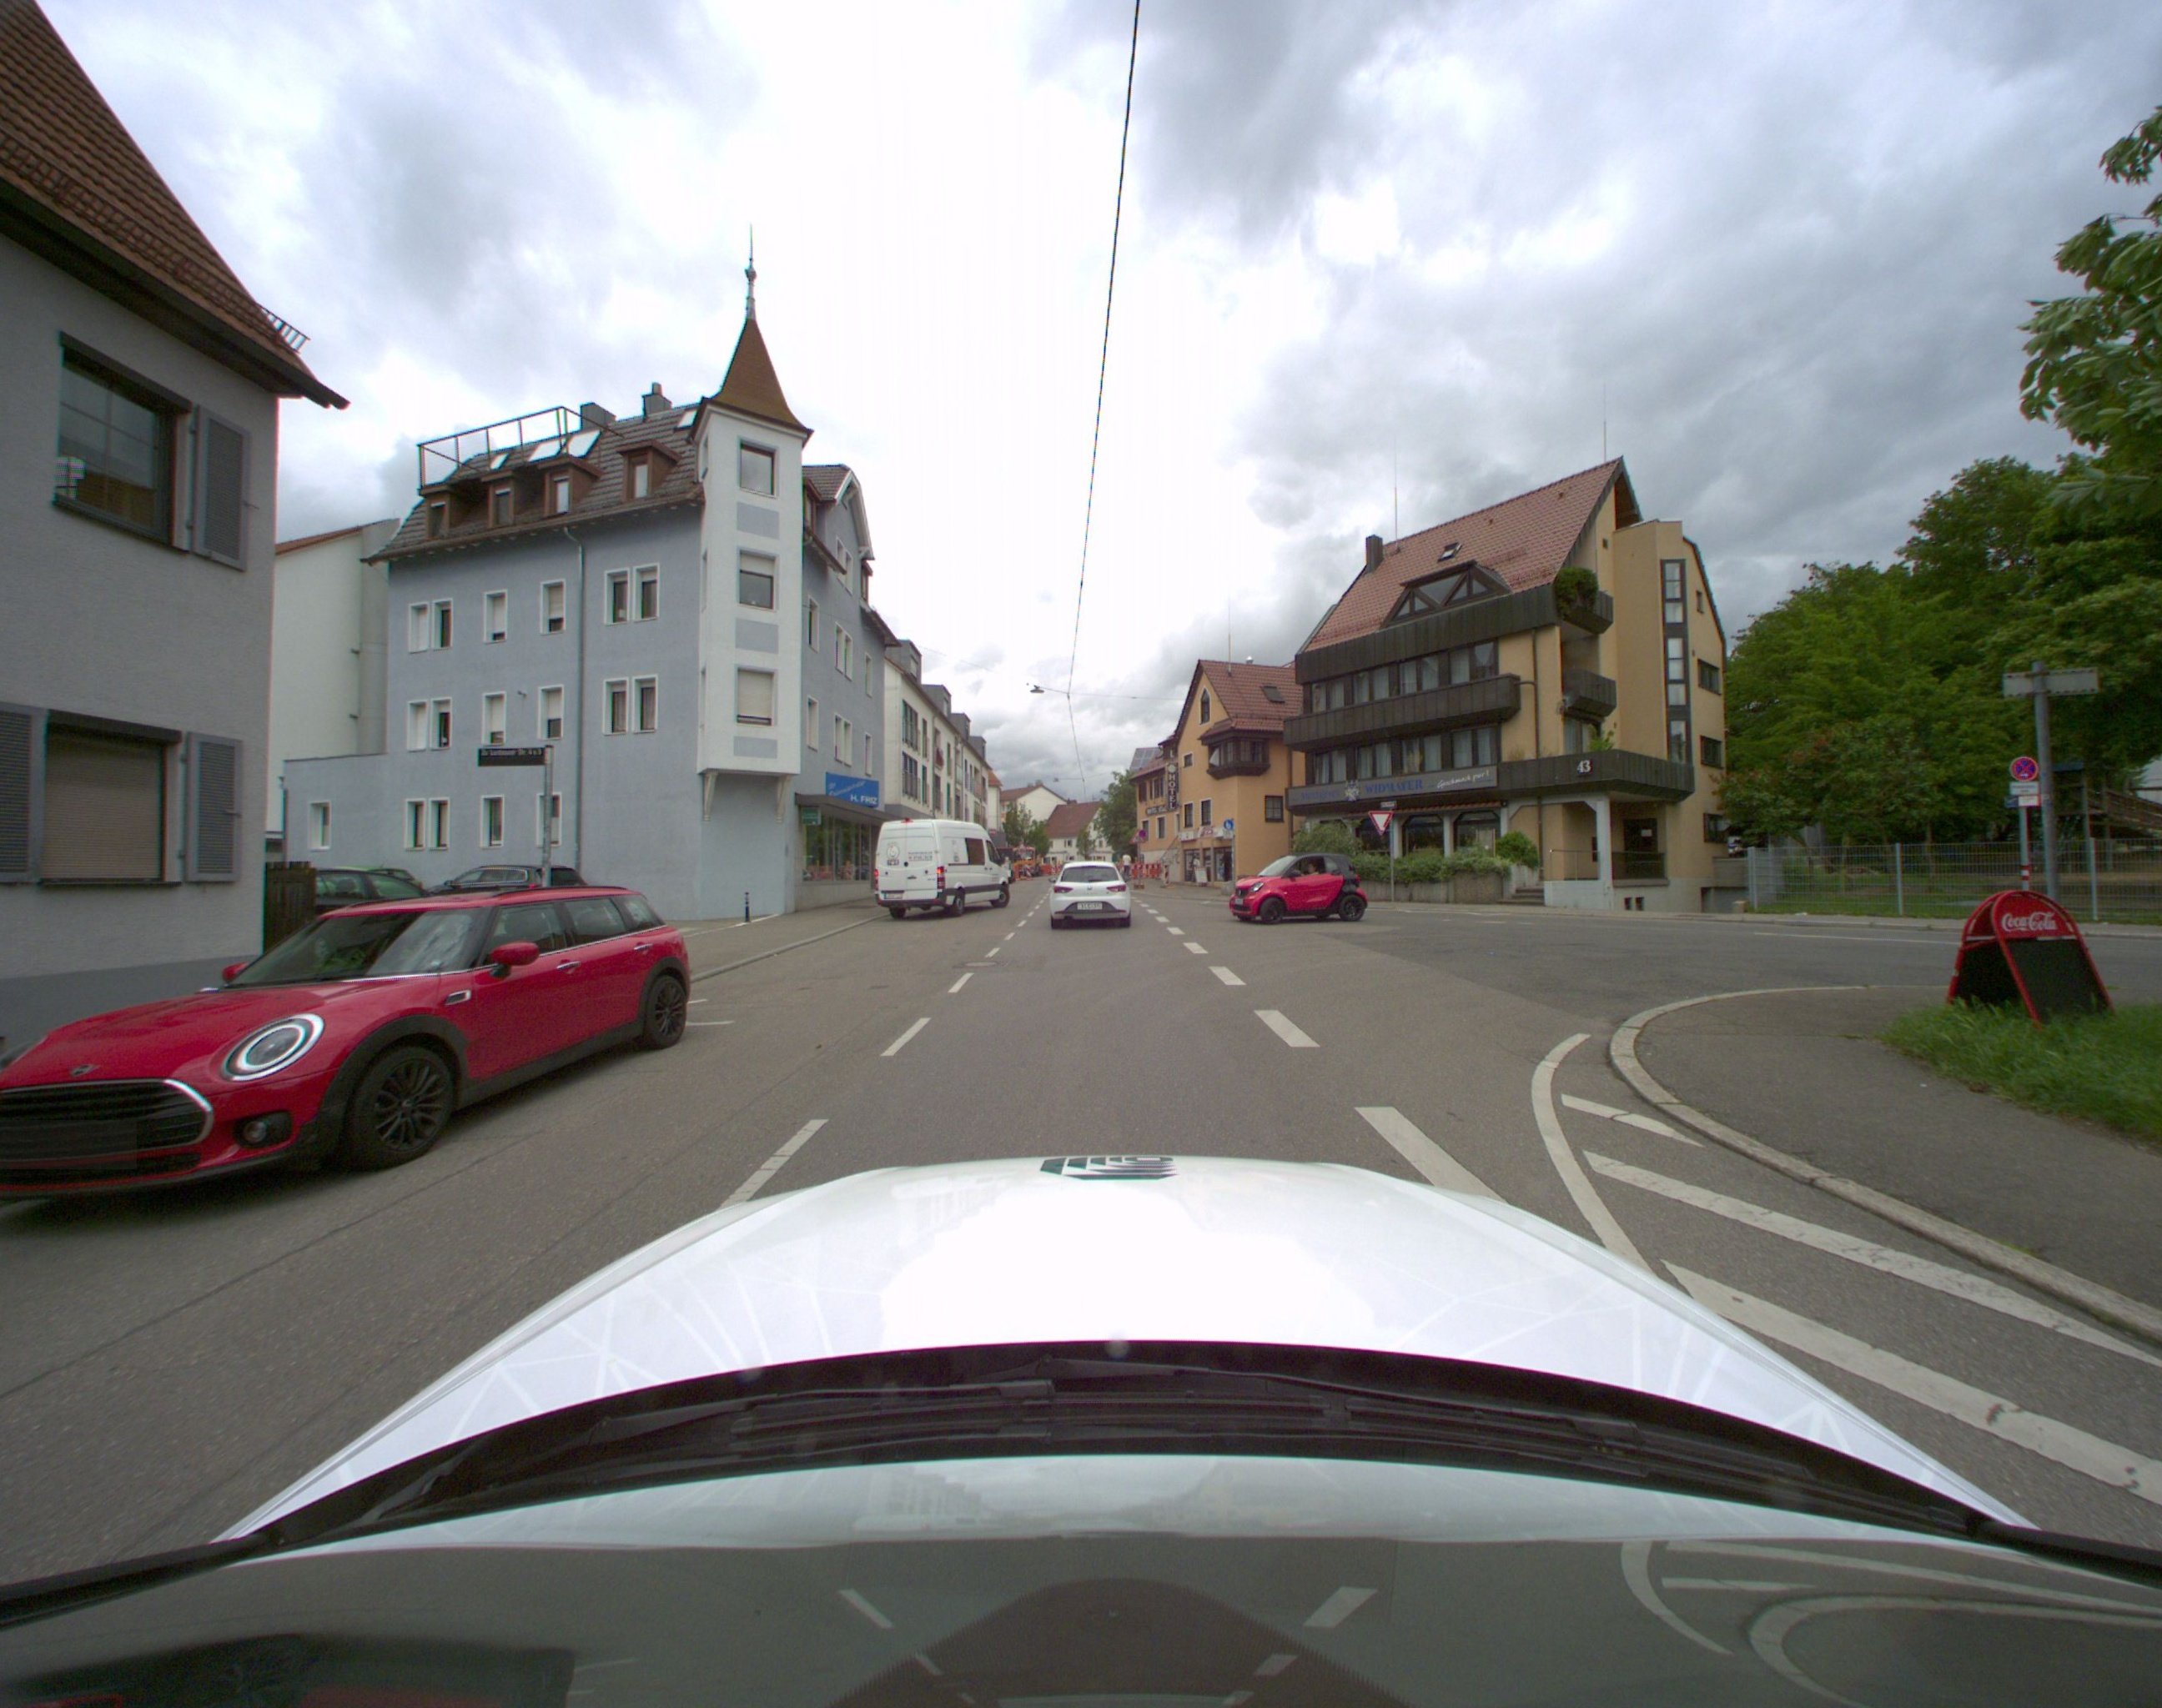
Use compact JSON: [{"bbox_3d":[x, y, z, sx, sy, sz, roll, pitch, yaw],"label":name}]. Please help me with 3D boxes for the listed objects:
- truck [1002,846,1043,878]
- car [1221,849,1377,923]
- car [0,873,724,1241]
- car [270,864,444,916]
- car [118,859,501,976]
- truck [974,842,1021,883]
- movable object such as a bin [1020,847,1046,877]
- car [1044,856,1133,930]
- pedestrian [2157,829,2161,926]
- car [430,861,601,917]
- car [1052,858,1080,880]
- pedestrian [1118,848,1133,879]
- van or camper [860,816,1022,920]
[{"bbox_3d":[-5.129,0.686,72.331,2.720,2.725,6.853,-1,0,3],"label":"truck"},{"bbox_3d":[4.885,0.689,18.455,2.930,1.520,1.814,-1,0,-10],"label":"car"},{"bbox_3d":[-4.546,0.978,5.829,1.852,1.474,4.354,-3,0,2],"label":"car"},{"bbox_3d":[-21.287,1.057,23.962,4.363,1.393,2.011,-2,0,21],"label":"car"},{"bbox_3d":[-12.202,0.884,13.430,1.986,1.552,4.417,1,0,2],"label":"car"},{"bbox_3d":[-5.303,0.535,52.734,2.406,2.466,6.305,-1,0,-1],"label":"truck"},{"bbox_3d":[-4.598,0.778,78.458,1.830,2.764,4.510,-1,-2,4],"label":"movable object such as a bin"},{"bbox_3d":[0.199,0.815,18.771,1.805,1.481,3.871,-1,0,1],"label":"car"},{"bbox_3d":[17.701,0.367,12.782,0.904,1.536,0.949,0,-1,-36],"label":"pedestrian"},{"bbox_3d":[-14.977,0.915,21.586,3.953,1.352,1.731,-2,0,20],"label":"car"},{"bbox_3d":[-1.117,1.042,58.802,1.807,1.481,3.866,-1,0,-3],"label":"car"},{"bbox_3d":[2.852,0.626,52.112,0.796,1.950,0.835,-1,0,-3],"label":"pedestrian"},{"bbox_3d":[-3.828,0.366,23.826,2.302,2.607,6.231,-1,0,14],"label":"van or camper"}]
